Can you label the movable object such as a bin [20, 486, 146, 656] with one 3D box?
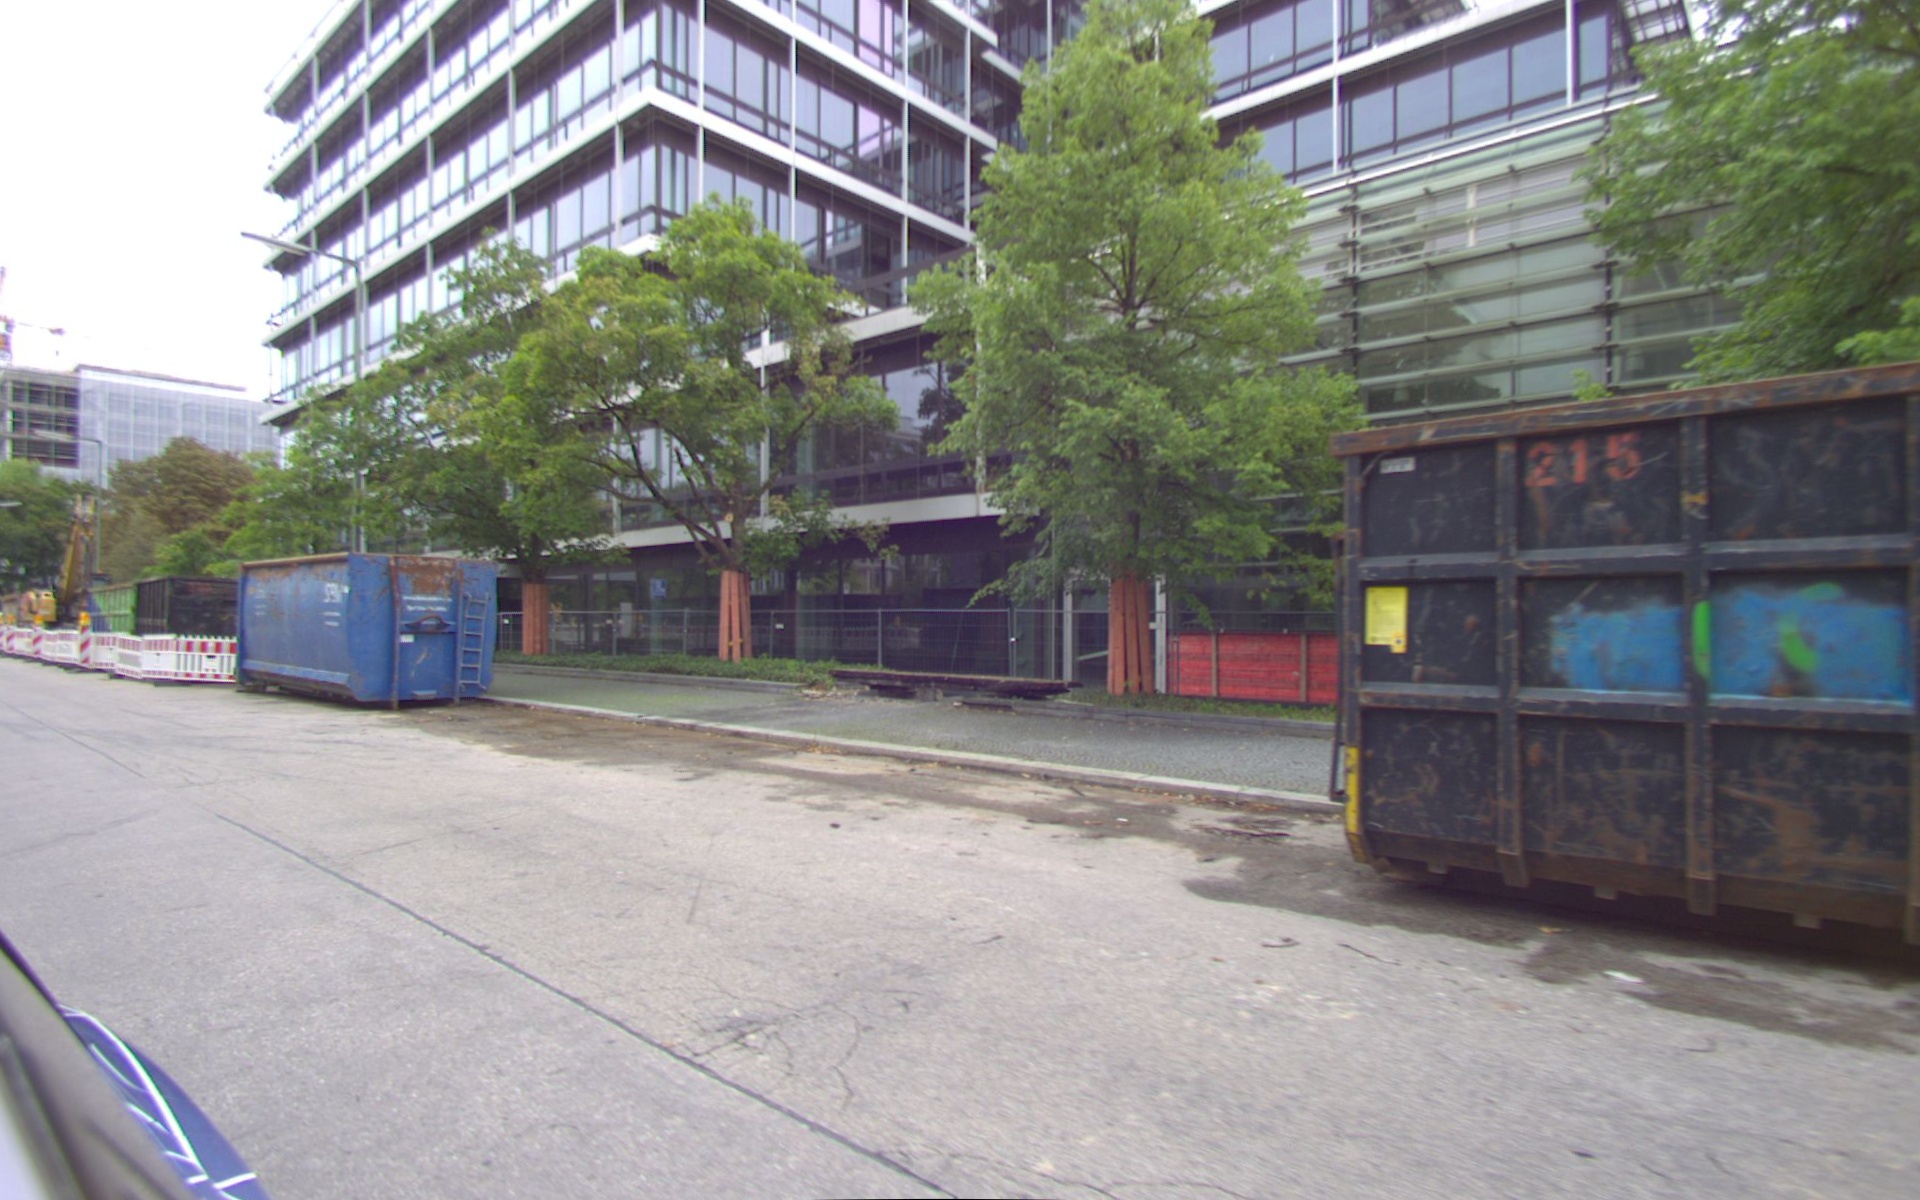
[{"bbox_3d":[-36.477,-1.034,41.953,8.338,6.370,3.198,-1,-2,44],"label":"movable object such as a bin"}]
